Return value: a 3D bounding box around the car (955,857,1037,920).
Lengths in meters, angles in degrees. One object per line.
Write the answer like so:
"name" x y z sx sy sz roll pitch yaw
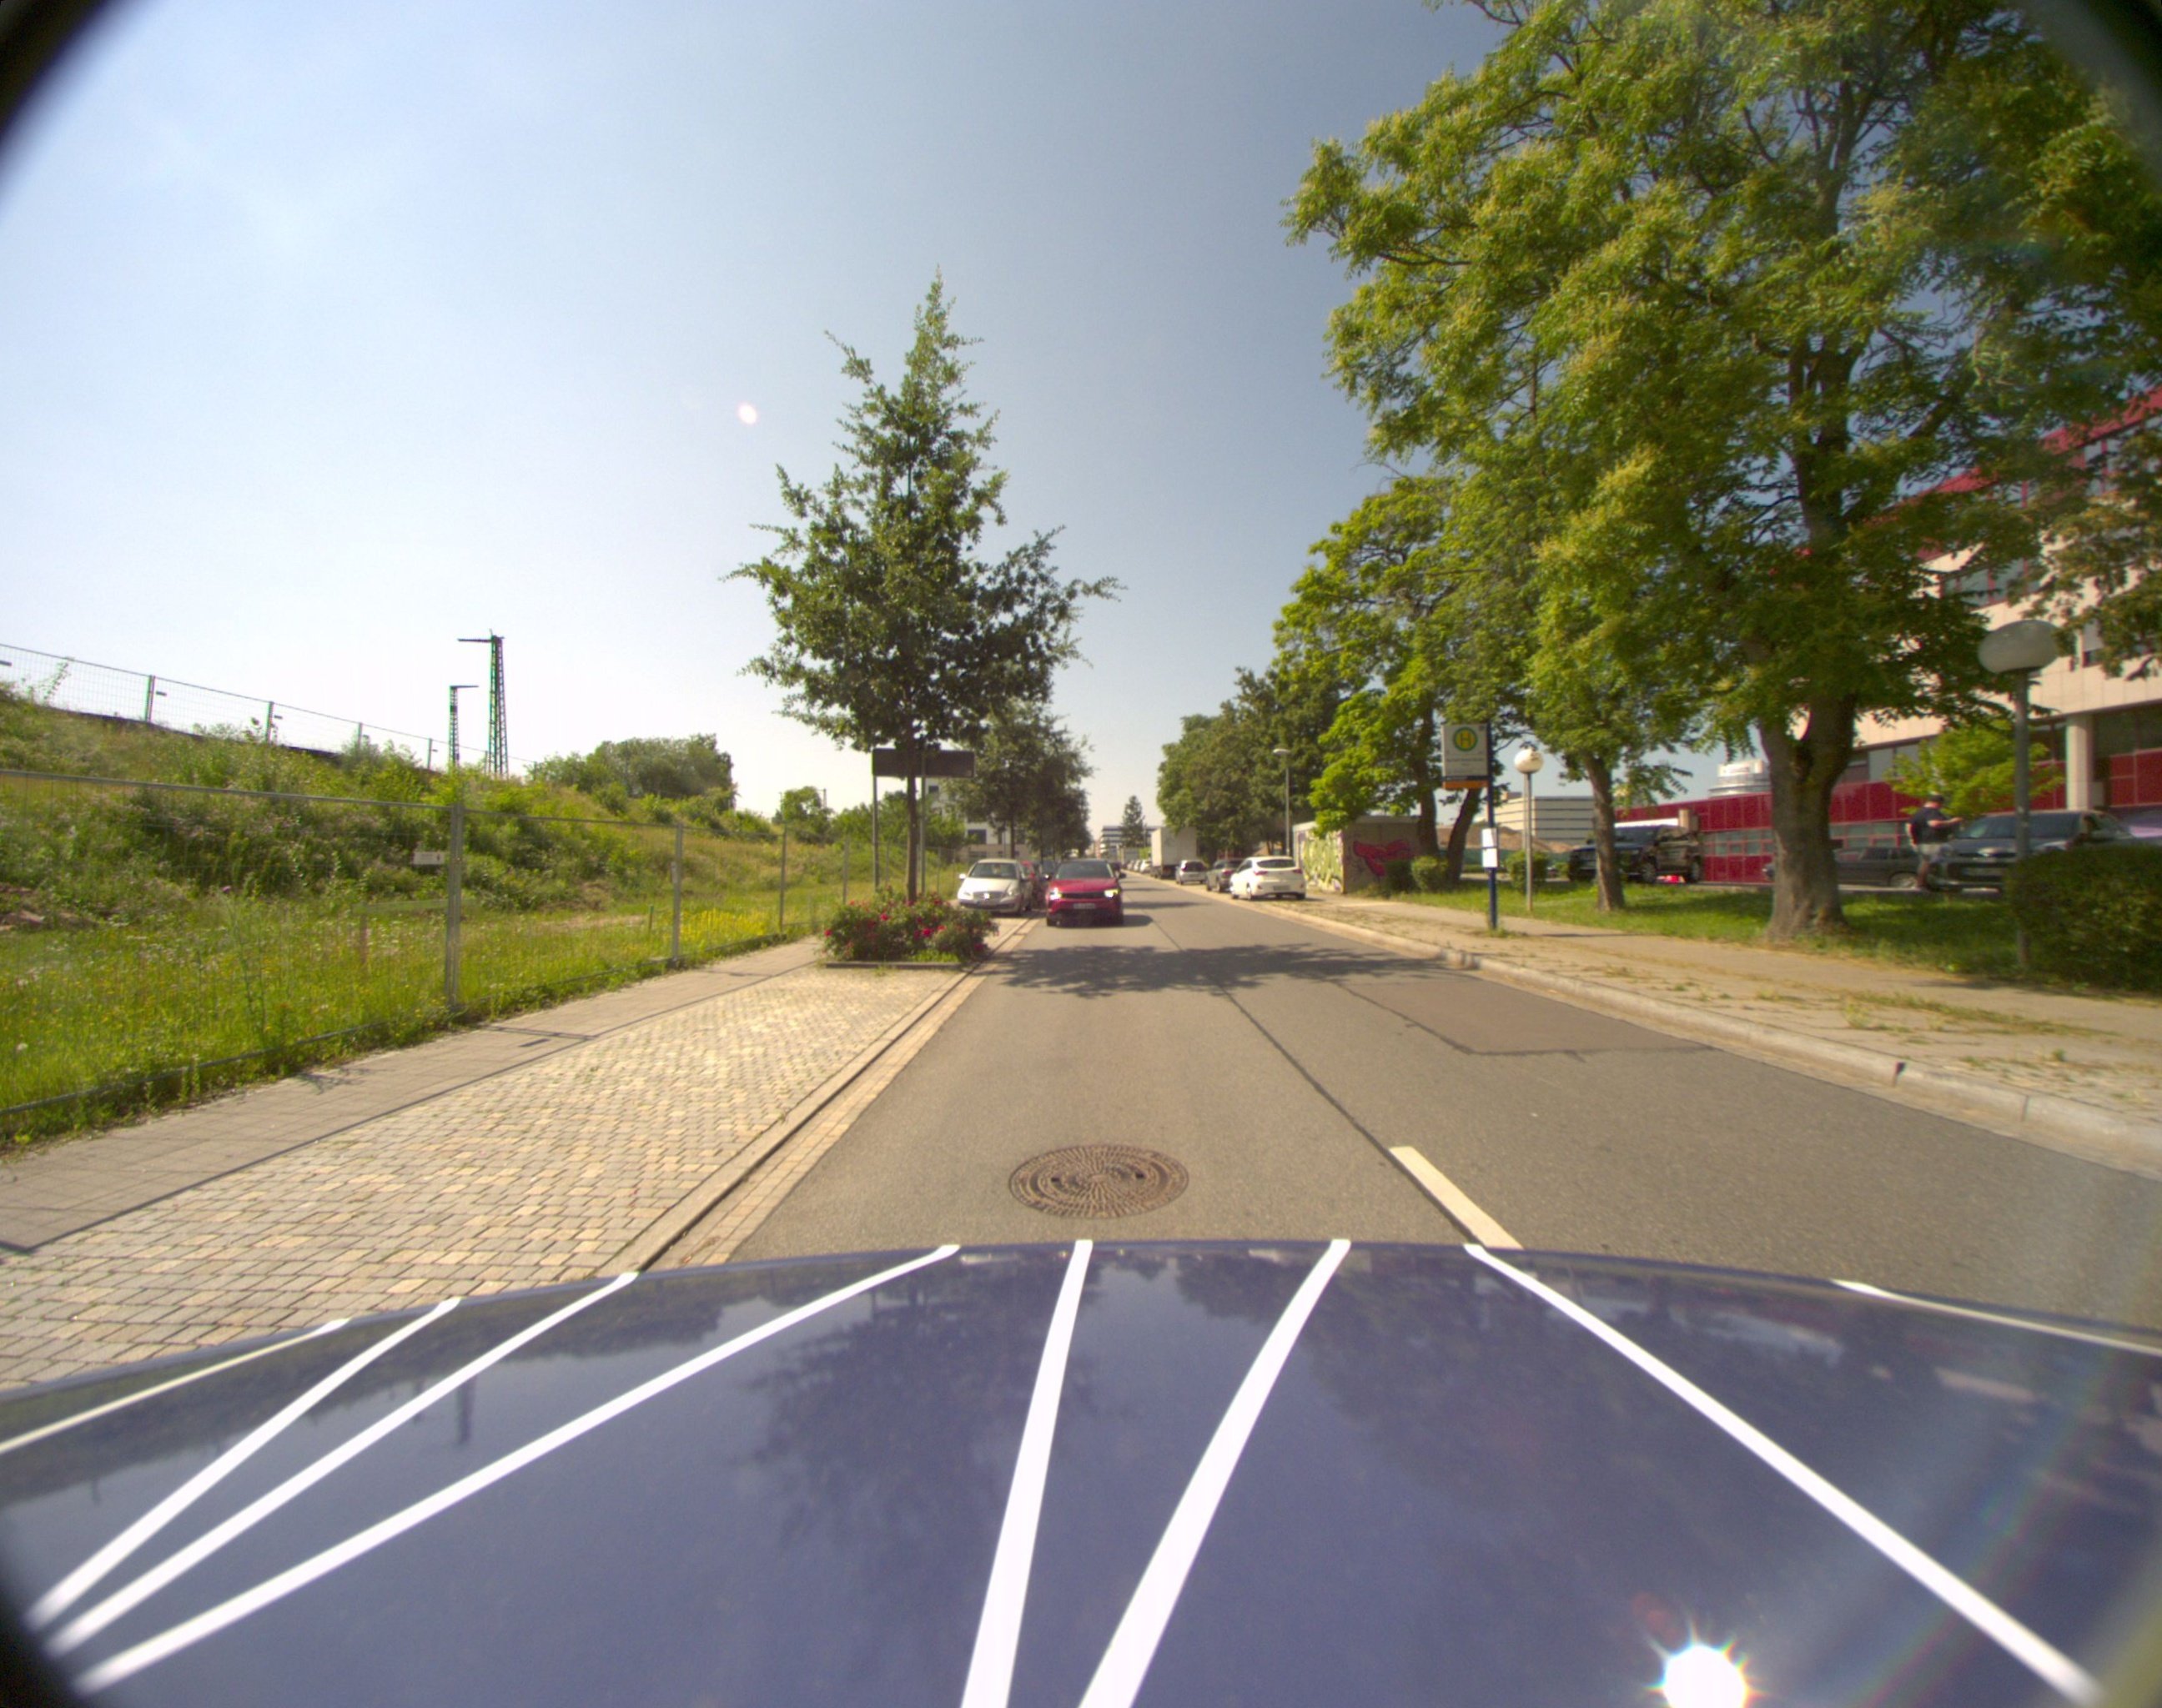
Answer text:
"car" -2.406 0.949 22.497 1.847 1.606 4.370 2 -1 1

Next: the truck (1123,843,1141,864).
"truck" 8.133 -0.053 121.414 2.701 3.300 7.345 -1 0 4

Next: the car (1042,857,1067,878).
"car" -2.152 1.106 62.155 1.847 1.606 4.000 1 -1 1

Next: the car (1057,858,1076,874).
"car" -1.482 1.222 79.082 1.847 1.606 4.000 1 -1 1

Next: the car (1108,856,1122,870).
"car" 4.552 1.194 101.674 1.790 1.783 4.001 -1 0 2

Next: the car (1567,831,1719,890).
"car" 16.184 0.149 21.808 4.824 1.484 1.848 -2 0 -32

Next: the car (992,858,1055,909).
"car" -1.963 0.989 26.848 1.847 1.606 4.000 1 -1 1

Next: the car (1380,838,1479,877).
"car" 17.108 0.153 37.209 4.724 1.793 1.996 0 -1 -30

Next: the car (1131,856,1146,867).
"car" 7.985 1.053 105.684 1.814 1.506 4.001 -2 0 2

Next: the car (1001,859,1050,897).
"car" -2.449 1.039 34.330 1.847 1.606 4.000 1 -1 1

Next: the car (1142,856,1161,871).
"car" 7.605 0.979 82.199 1.814 1.506 4.001 -2 0 2

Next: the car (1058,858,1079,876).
"car" -1.148 1.181 71.097 1.847 1.606 4.000 1 -1 1

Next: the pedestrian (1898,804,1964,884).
"pedestrian" 16.566 -0.190 14.824 0.563 1.518 0.758 -1 0 22

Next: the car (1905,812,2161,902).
"car" 16.610 0.018 13.200 3.993 1.330 1.715 -2 0 -21

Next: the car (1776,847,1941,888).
"car" 28.917 0.505 28.467 4.228 1.443 1.726 -1 0 43

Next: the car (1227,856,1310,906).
"car" 6.244 0.844 25.758 1.766 1.484 4.000 -2 0 0

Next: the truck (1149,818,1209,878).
"truck" 7.252 -0.380 57.653 3.353 4.119 9.279 -2 0 1

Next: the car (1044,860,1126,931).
"car" 0.081 0.961 19.355 1.821 1.594 4.307 -1 0 0

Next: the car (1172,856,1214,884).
"car" 6.554 0.926 44.811 1.815 1.506 4.000 -2 0 0

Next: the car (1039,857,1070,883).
"car" -1.731 1.066 50.577 1.847 1.606 4.000 1 -1 1

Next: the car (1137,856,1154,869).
"car" 7.917 1.037 93.247 1.814 1.506 4.001 -2 0 2

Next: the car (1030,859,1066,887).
"car" -1.893 1.065 44.252 1.869 1.533 4.000 -1 0 0

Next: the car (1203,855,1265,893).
"car" 6.583 0.832 33.045 1.815 1.506 4.000 -2 0 0
